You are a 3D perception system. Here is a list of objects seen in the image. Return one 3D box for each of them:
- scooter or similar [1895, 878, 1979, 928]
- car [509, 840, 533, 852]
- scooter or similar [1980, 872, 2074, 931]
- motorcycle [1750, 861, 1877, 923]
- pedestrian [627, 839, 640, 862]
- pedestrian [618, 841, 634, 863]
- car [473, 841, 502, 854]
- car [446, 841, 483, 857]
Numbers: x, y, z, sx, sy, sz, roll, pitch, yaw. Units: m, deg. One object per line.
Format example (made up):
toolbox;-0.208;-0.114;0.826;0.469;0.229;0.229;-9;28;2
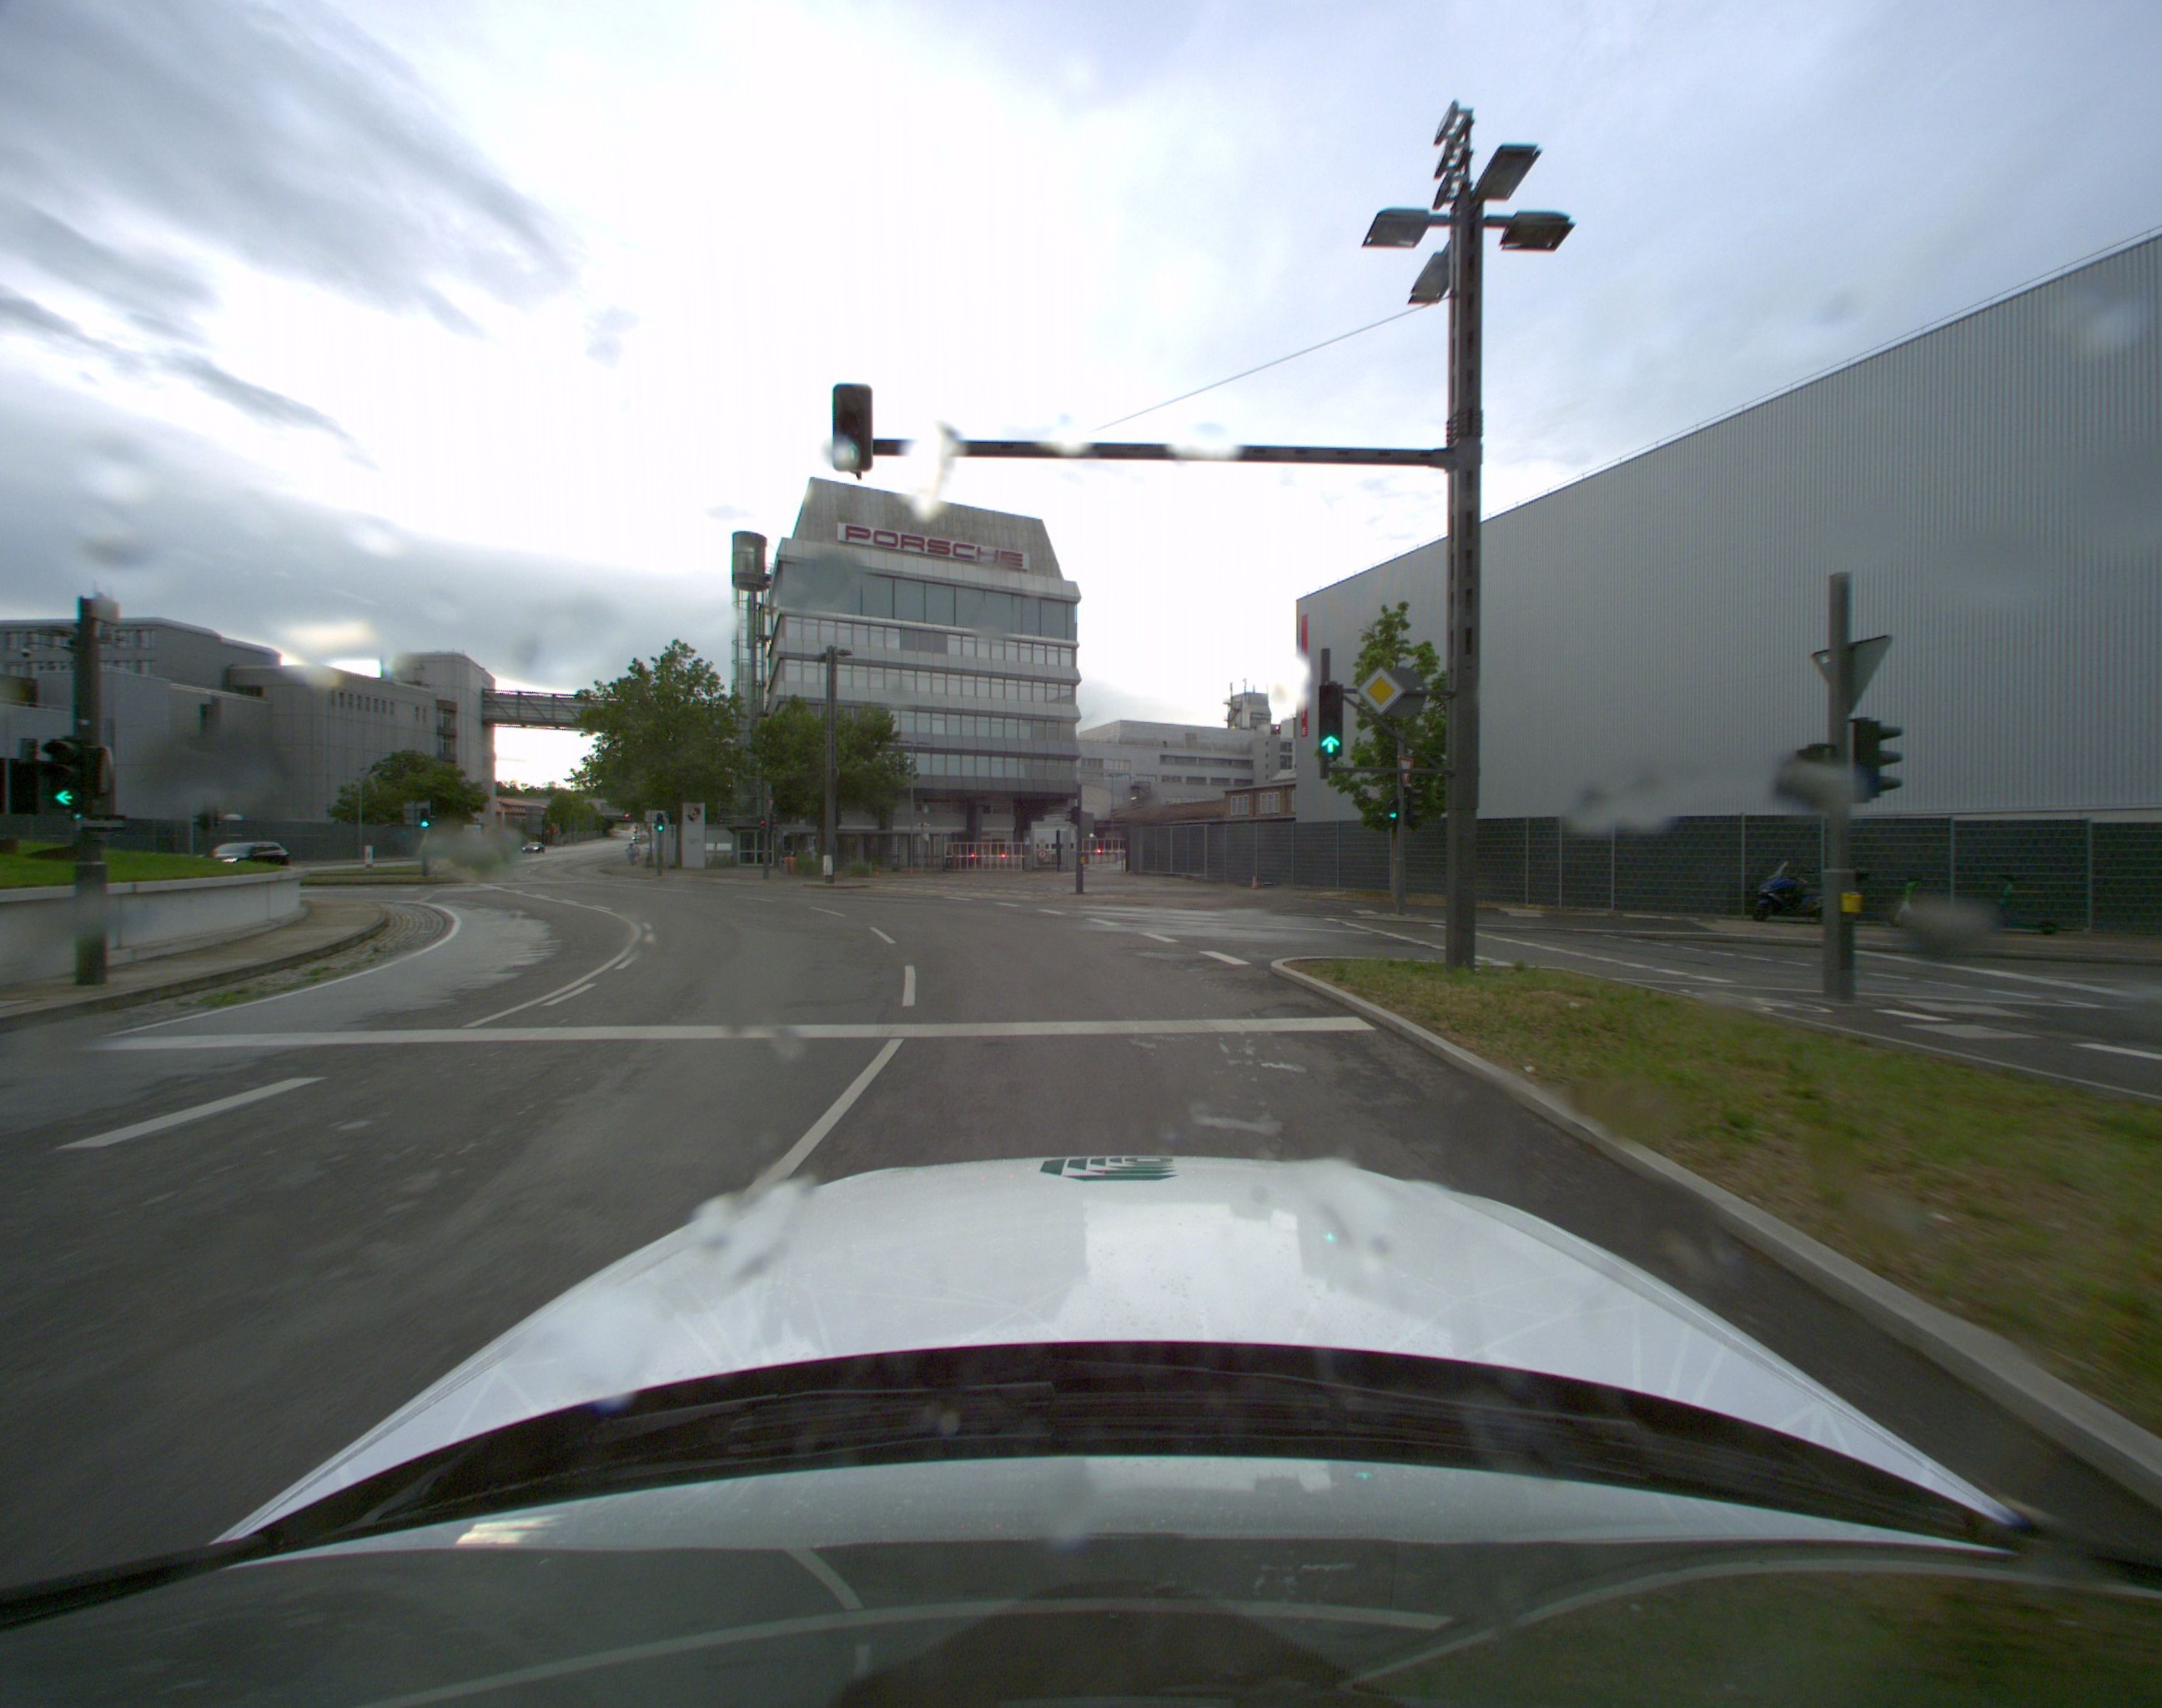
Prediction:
scooter or similar;18.921;1.064;18.027;0.388;1.029;1.255;1;0;-43
car;-72.966;-1.042;106.215;1.792;1.385;4.509;-3;2;-25
scooter or similar;20.615;1.018;17.770;1.254;1.199;0.427;2;0;28
motorcycle;16.686;0.853;18.598;2.079;1.311;0.658;1;0;13
pedestrian;-31.580;-0.263;57.456;0.711;1.592;0.835;0;1;-21
pedestrian;-31.065;-0.132;55.575;0.834;1.520;0.836;0;1;-21
car;-68.222;-0.781;93.659;1.792;1.454;4.522;-2;2;-26
car;-57.605;-0.459;76.151;1.791;1.440;4.362;0;1;-23
